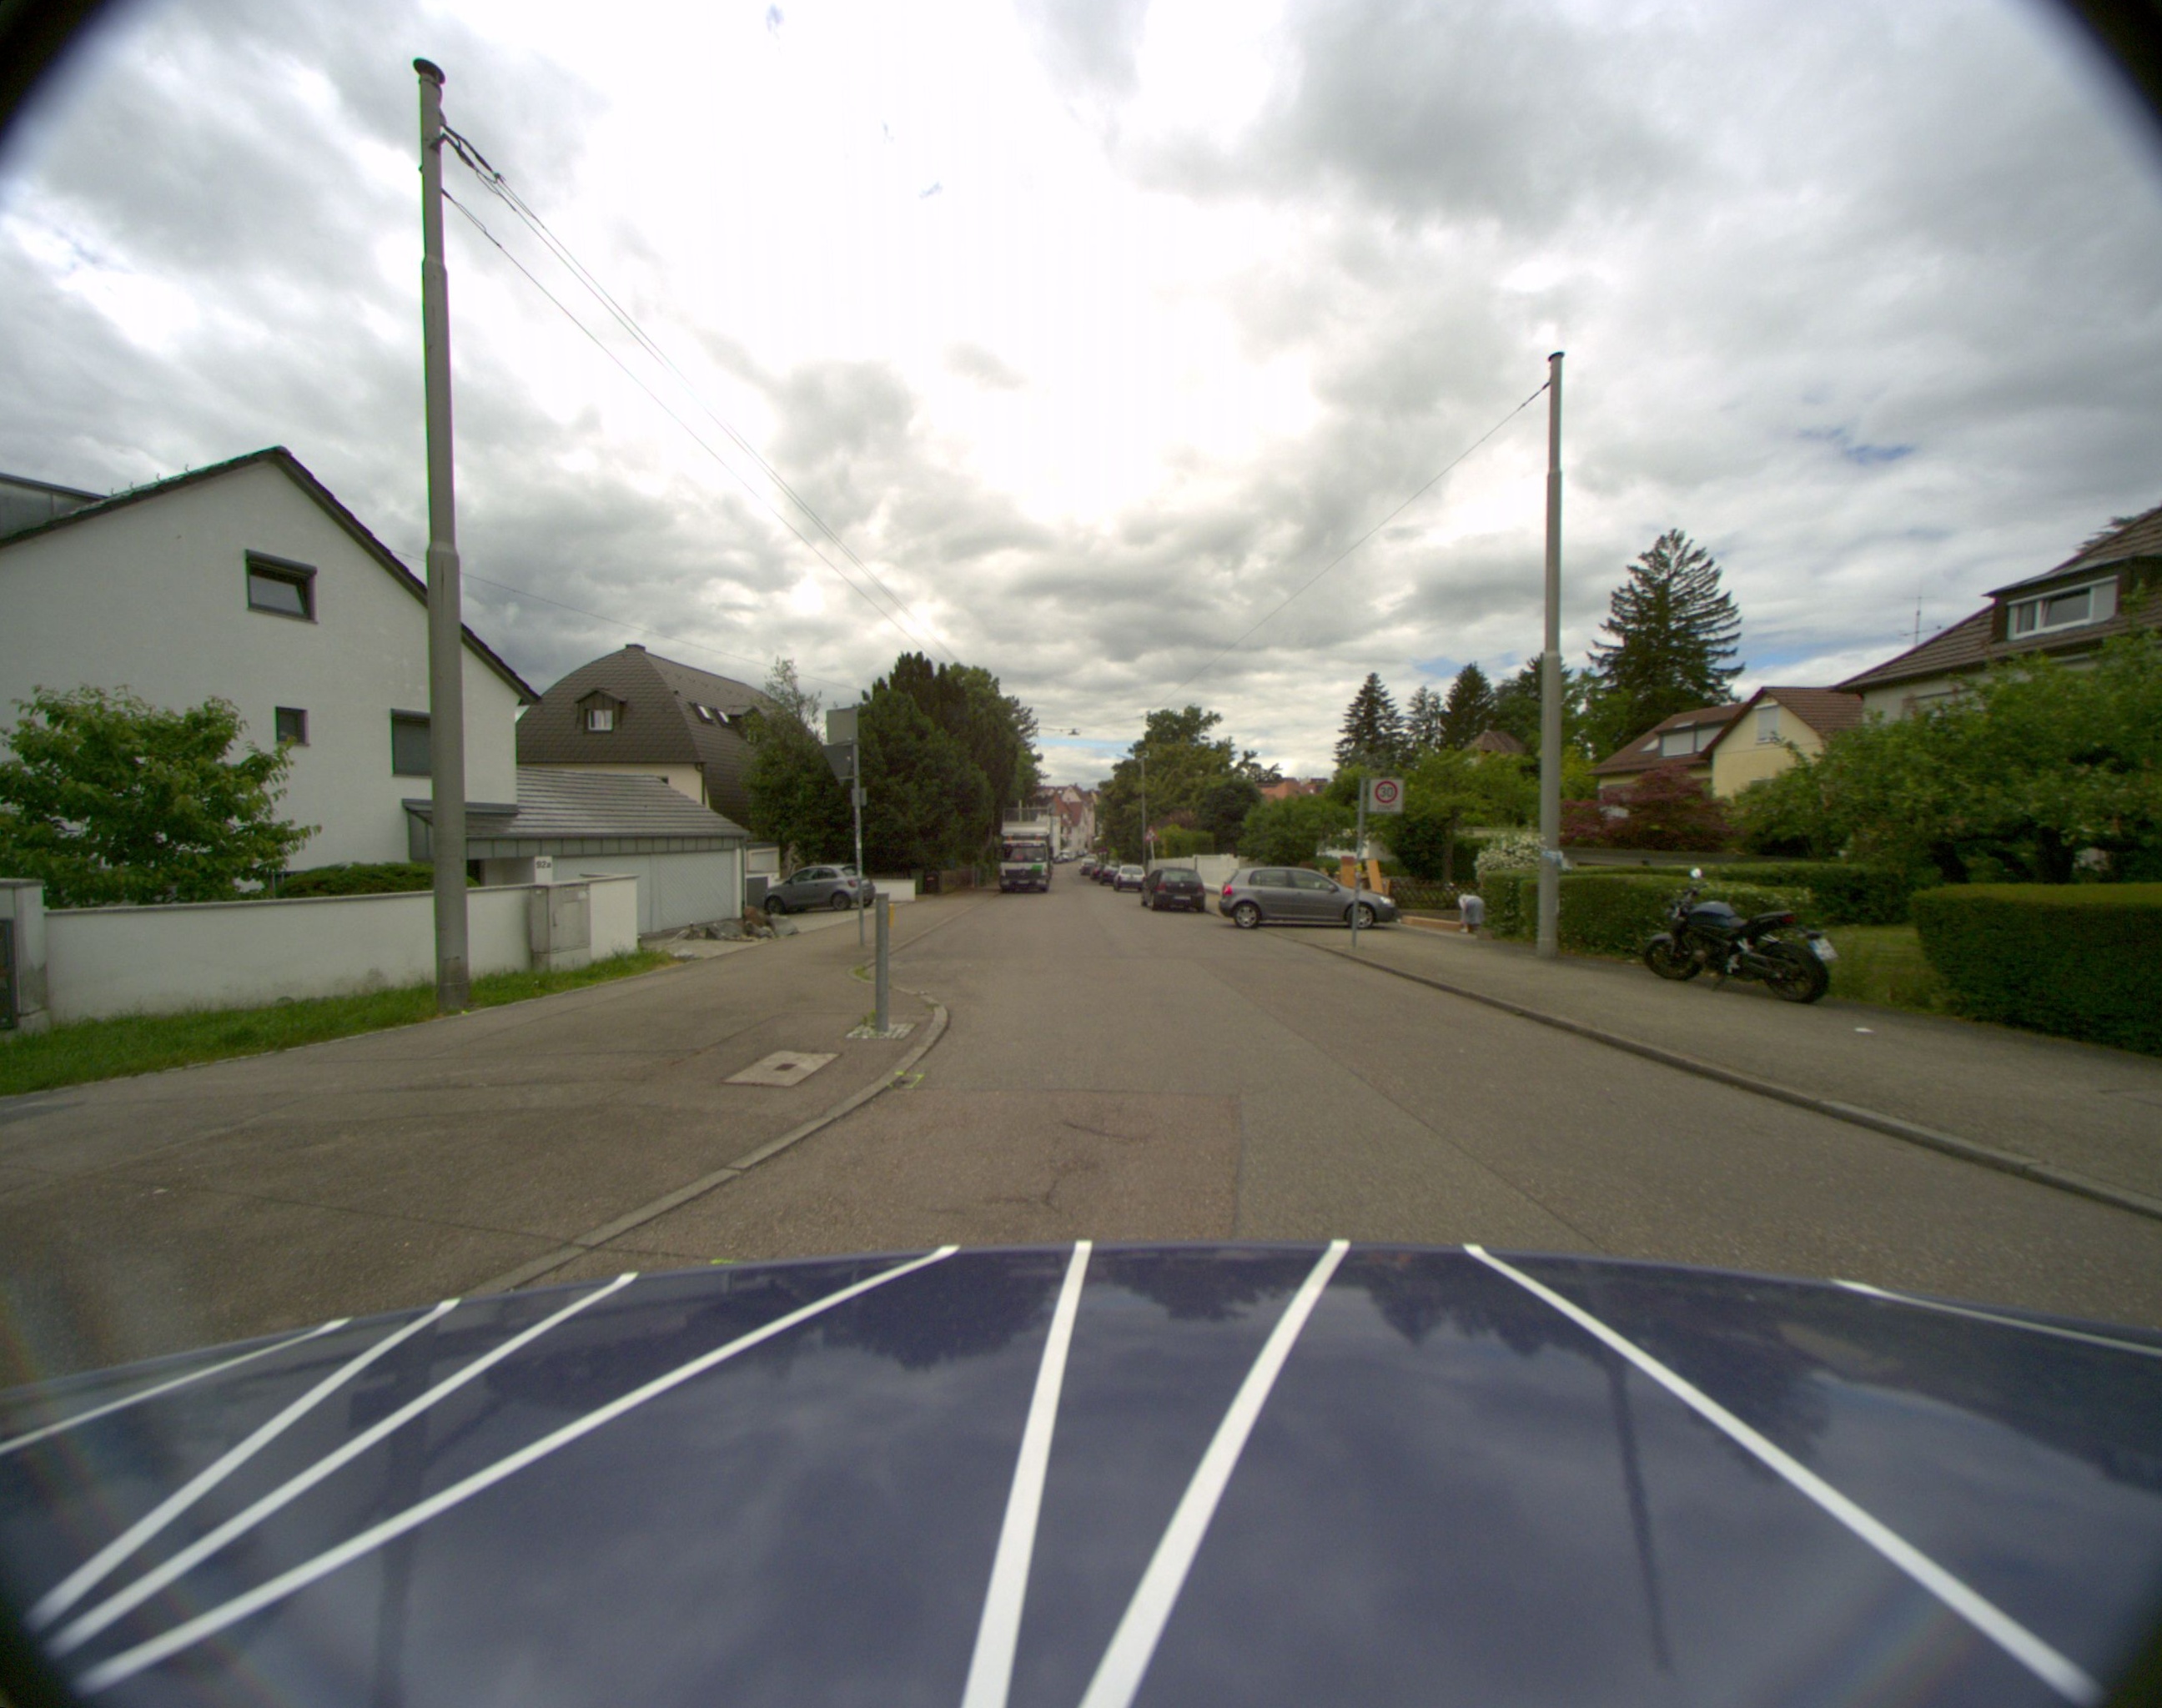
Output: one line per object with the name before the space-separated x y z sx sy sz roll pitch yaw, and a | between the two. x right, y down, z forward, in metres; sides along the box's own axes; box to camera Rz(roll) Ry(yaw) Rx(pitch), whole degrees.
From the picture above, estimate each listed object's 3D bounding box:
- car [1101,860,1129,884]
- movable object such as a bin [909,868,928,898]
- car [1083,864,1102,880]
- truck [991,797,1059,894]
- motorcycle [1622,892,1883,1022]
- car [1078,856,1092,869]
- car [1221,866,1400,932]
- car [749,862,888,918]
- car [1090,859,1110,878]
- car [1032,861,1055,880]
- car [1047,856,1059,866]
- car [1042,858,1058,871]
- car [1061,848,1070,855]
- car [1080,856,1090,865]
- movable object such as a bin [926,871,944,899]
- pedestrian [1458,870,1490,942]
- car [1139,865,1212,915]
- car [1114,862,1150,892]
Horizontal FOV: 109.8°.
car | 2.284 1.192 51.989 1.620 1.460 3.312 3 0 -1
movable object such as a bin | -6.720 1.209 31.477 0.599 1.200 0.952 -3 -2 -4
car | 1.367 2.065 88.299 1.888 1.746 3.701 0 0 -4
truck | -2.896 -0.397 40.002 3.154 4.524 7.950 1 0 -3
motorcycle | 7.172 1.033 8.315 0.775 1.133 2.145 0 0 -8
car | 0.484 1.031 94.644 1.620 1.460 3.312 3 0 -1
car | 5.535 1.046 18.542 3.992 1.454 1.740 -1 0 17
car | -8.483 1.160 24.651 3.853 1.488 1.694 -4 0 12
car | 1.648 1.259 65.550 1.539 1.460 3.313 3 -1 -1
car | -3.201 1.367 65.742 1.876 1.543 3.824 0 0 -1
car | -4.575 1.094 123.876 1.876 1.543 3.824 0 0 -1
car | -3.857 1.231 94.557 1.876 1.543 3.824 0 0 -1
car | -3.179 -0.516 154.816 1.876 1.543 3.824 0 0 -1
car | 0.580 0.937 114.287 1.424 1.277 3.312 3 0 -1
movable object such as a bin | -6.007 1.268 31.315 0.599 1.098 0.952 -3 -2 -4
pedestrian | 10.102 1.317 19.562 0.645 1.794 0.614 0 1 19
car | 3.077 1.128 25.425 1.759 1.435 3.801 2 0 -3
car | 2.732 1.204 41.534 1.620 1.460 3.312 3 0 -1
